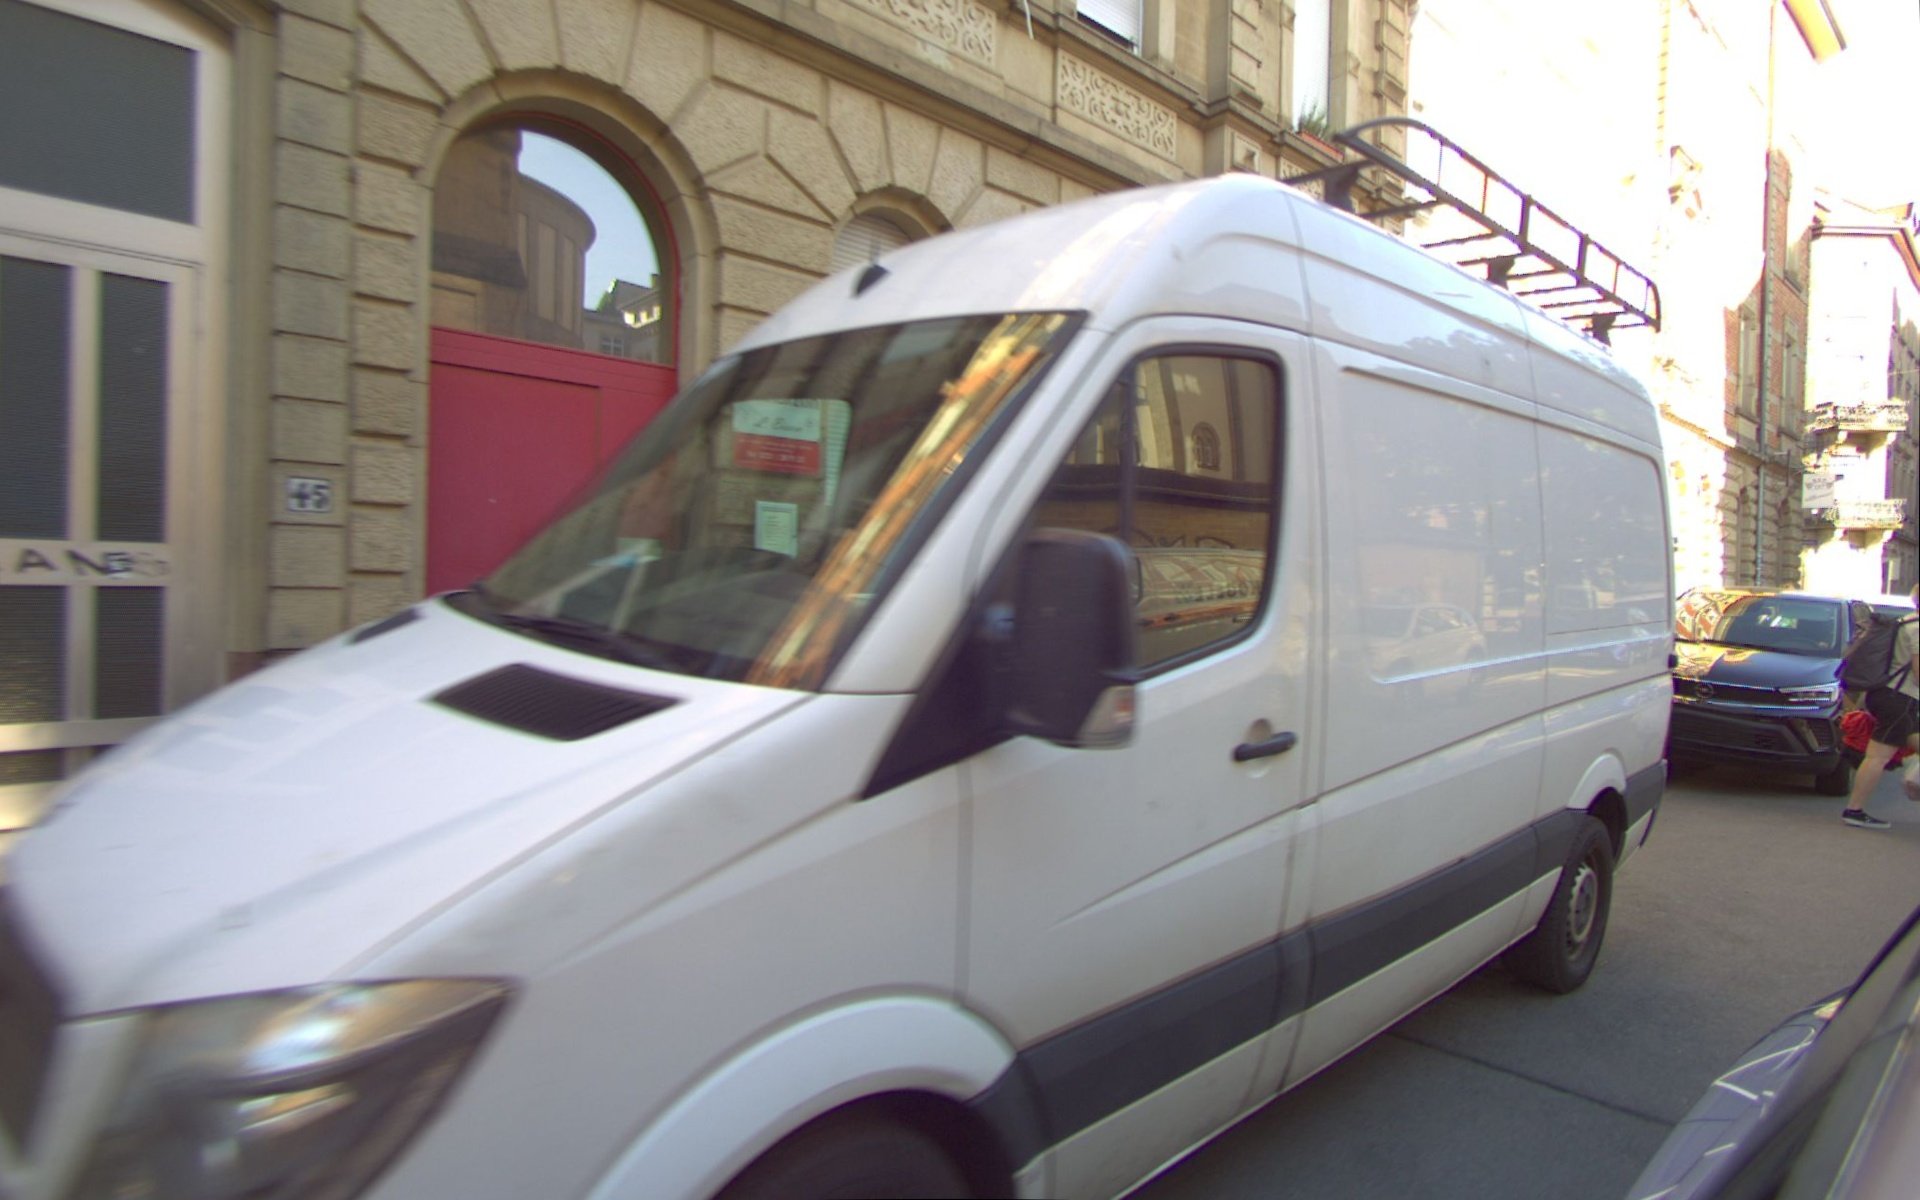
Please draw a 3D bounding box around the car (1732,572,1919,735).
[{"bbox_3d":[11.233,0.548,12.524,4.140,1.711,1.811,-1,0,-41],"label":"car"}]

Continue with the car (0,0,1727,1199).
[{"bbox_3d":[0.606,0.104,3.449,5.784,2.644,2.072,0,0,-41],"label":"car"}]

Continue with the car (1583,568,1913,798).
[{"bbox_3d":[7.308,0.584,9.255,3.856,1.663,1.690,0,1,-41],"label":"car"}]

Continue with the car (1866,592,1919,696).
[{"bbox_3d":[15.835,0.644,16.339,1.572,1.545,3.845,-2,-1,45],"label":"car"}]

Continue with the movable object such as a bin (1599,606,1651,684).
[{"bbox_3d":[9.717,0.646,14.805,0.545,1.065,0.597,4,3,31],"label":"movable object such as a bin"}]

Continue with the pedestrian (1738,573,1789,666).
[{"bbox_3d":[14.660,0.337,18.457,0.722,1.642,0.574,1,1,-43],"label":"pedestrian"}]

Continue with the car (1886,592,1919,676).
[{"bbox_3d":[19.134,0.642,19.554,3.620,1.532,1.537,0,2,-43],"label":"car"}]

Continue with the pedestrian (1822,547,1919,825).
[{"bbox_3d":[6.369,0.551,6.796,0.670,1.795,0.637,-1,-1,22],"label":"pedestrian"}]

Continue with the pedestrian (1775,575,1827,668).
[{"bbox_3d":[15.195,0.379,18.287,0.715,1.624,0.591,1,1,-43],"label":"pedestrian"}]

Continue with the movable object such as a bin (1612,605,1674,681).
[{"bbox_3d":[10.334,0.641,15.326,0.542,1.065,0.601,3,2,16],"label":"movable object such as a bin"}]

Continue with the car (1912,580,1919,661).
[{"bbox_3d":[22.369,0.457,22.345,3.871,1.735,1.705,0,2,-43],"label":"car"}]
